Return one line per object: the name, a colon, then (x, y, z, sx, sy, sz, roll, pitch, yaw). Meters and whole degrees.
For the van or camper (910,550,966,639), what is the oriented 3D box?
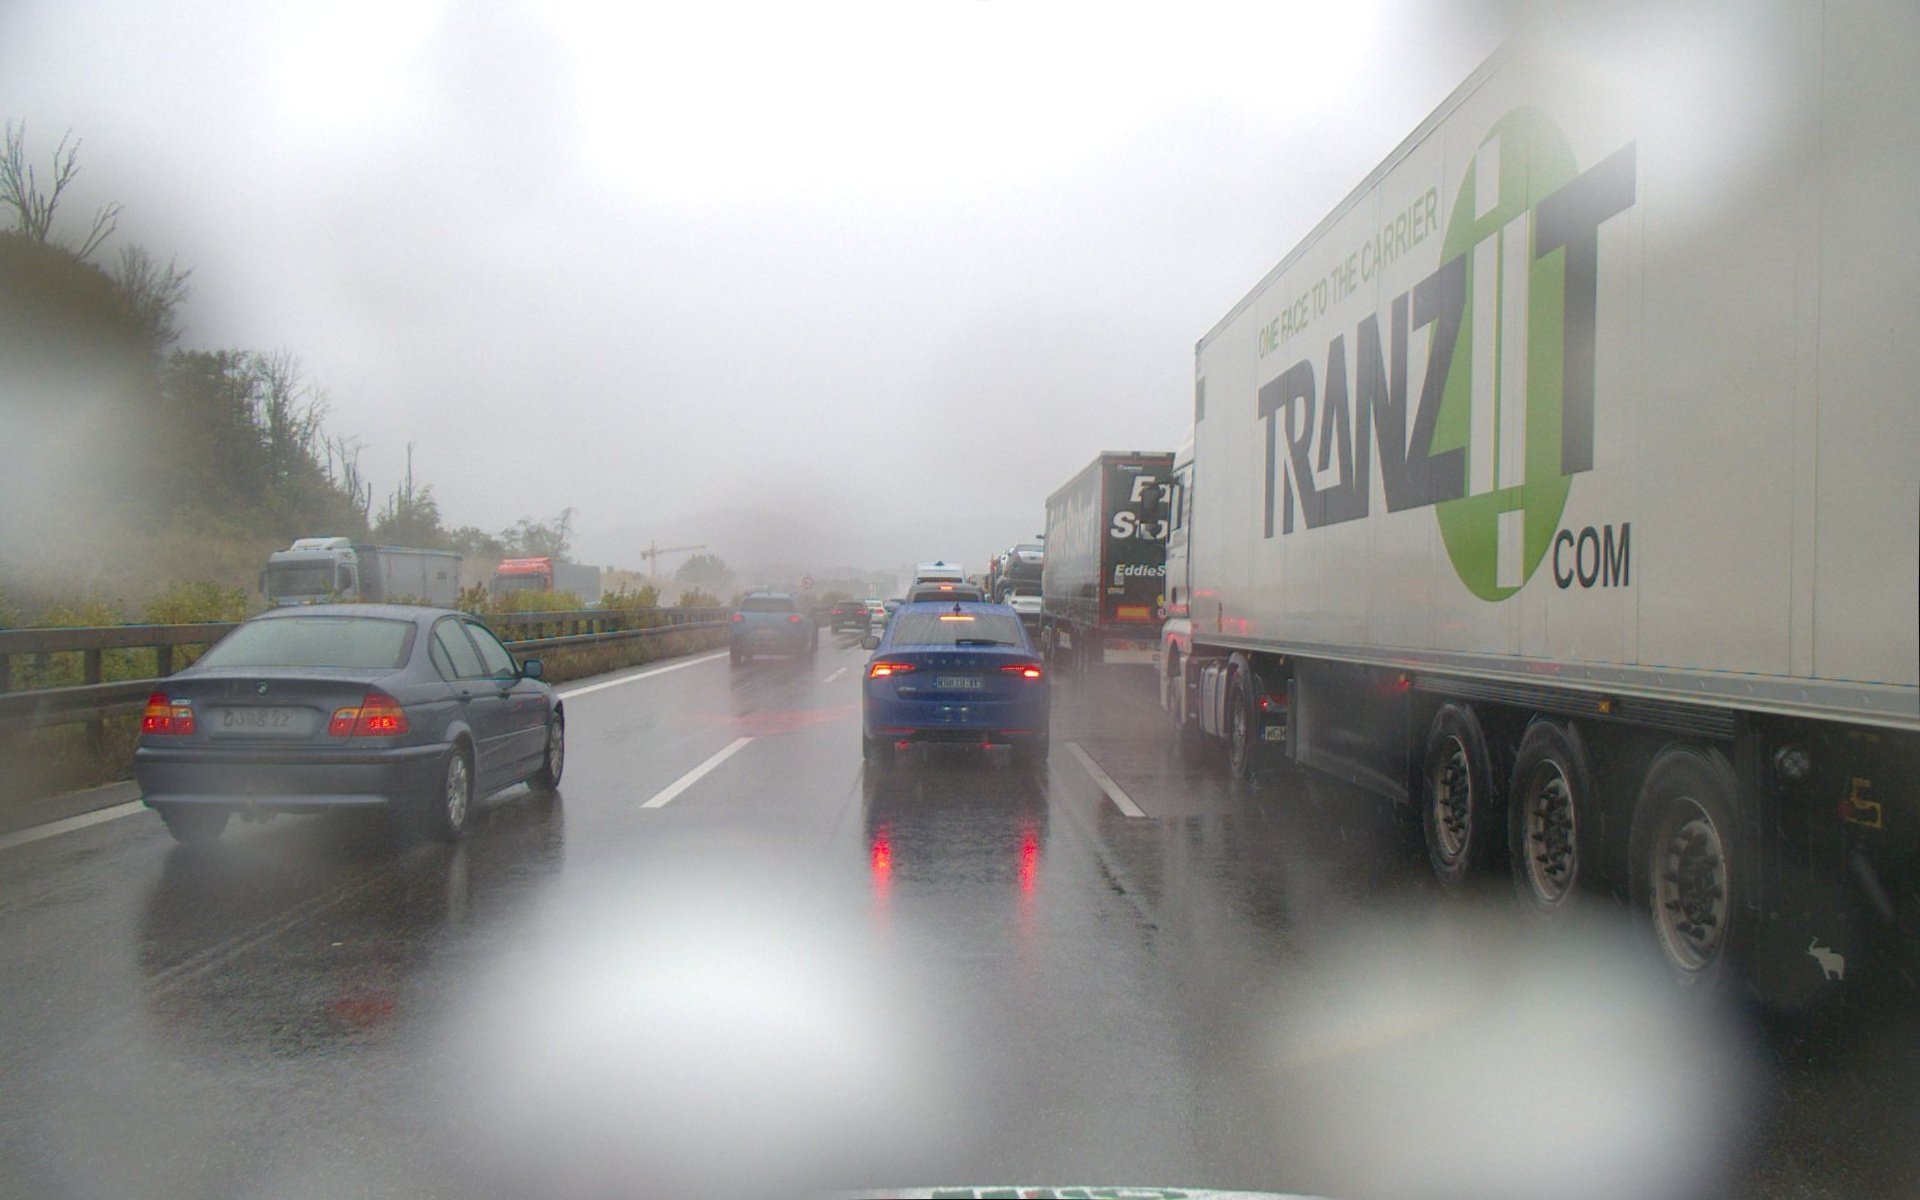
van or camper: (-0.734, -0.190, 55.703, 1.761, 2.855, 4.767, 0, 0, -1)

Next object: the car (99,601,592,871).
car: (-3.781, 0.735, 11.025, 1.683, 1.424, 4.230, 0, 0, 0)

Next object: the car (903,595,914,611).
car: (-5.841, 0.328, 188.065, 1.168, 1.780, 3.075, 0, 1, -1)

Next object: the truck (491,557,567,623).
truck: (-21.727, -0.474, 83.578, 2.631, 3.207, 4.605, 1, 0, -1)

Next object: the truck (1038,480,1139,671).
truck: (2.968, -0.560, 38.979, 2.005, 4.266, 3.999, 0, 0, -1)

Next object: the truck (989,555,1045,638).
truck: (2.461, -0.215, 73.390, 1.953, 3.481, 8.029, 0, 1, -2)

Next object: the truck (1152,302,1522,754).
truck: (3.545, -0.636, 16.725, 2.577, 3.894, 4.790, 0, 0, -1)

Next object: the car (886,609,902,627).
car: (-6.646, 1.790, 166.939, 1.419, 1.815, 3.409, 1, 0, -1)

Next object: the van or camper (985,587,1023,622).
van or camper: (2.186, 0.203, 82.994, 1.736, 1.653, 4.483, 0, 1, -1)

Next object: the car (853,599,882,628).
car: (-5.104, 0.720, 91.507, 1.410, 1.560, 3.321, 0, 0, -1)

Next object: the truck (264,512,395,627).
truck: (-21.066, -0.971, 55.508, 2.632, 3.674, 4.604, 1, 0, -2)

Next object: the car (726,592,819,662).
car: (-4.354, 0.603, 38.881, 1.686, 1.550, 4.000, 0, 0, 0)

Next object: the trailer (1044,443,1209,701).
trailer: (3.039, -0.505, 33.042, 2.005, 4.249, 11.446, 0, 0, -1)

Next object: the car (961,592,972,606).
car: (0.809, -0.118, 216.964, 1.419, 1.815, 3.409, 1, 0, -1)

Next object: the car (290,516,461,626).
car: (-21.345, -0.981, 61.233, 2.632, 3.674, 10.970, 1, 0, -1)

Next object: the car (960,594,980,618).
car: (0.741, 0.437, 125.487, 1.419, 1.815, 3.409, 1, 0, -1)

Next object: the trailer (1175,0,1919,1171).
trailer: (3.631, -0.654, 9.985, 2.577, 4.083, 14.627, 0, 0, -1)

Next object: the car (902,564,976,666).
car: (-0.401, 0.261, 31.265, 1.309, 1.811, 3.321, 0, 0, -1)

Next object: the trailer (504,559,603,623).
trailer: (-21.778, -0.450, 89.332, 2.631, 3.207, 11.082, 1, 0, 0)

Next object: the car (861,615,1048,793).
car: (-0.043, 0.915, 16.198, 1.602, 1.470, 4.000, 0, 0, 0)

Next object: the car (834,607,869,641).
car: (-4.858, 1.067, 74.251, 1.410, 1.445, 3.321, 0, 0, -1)
